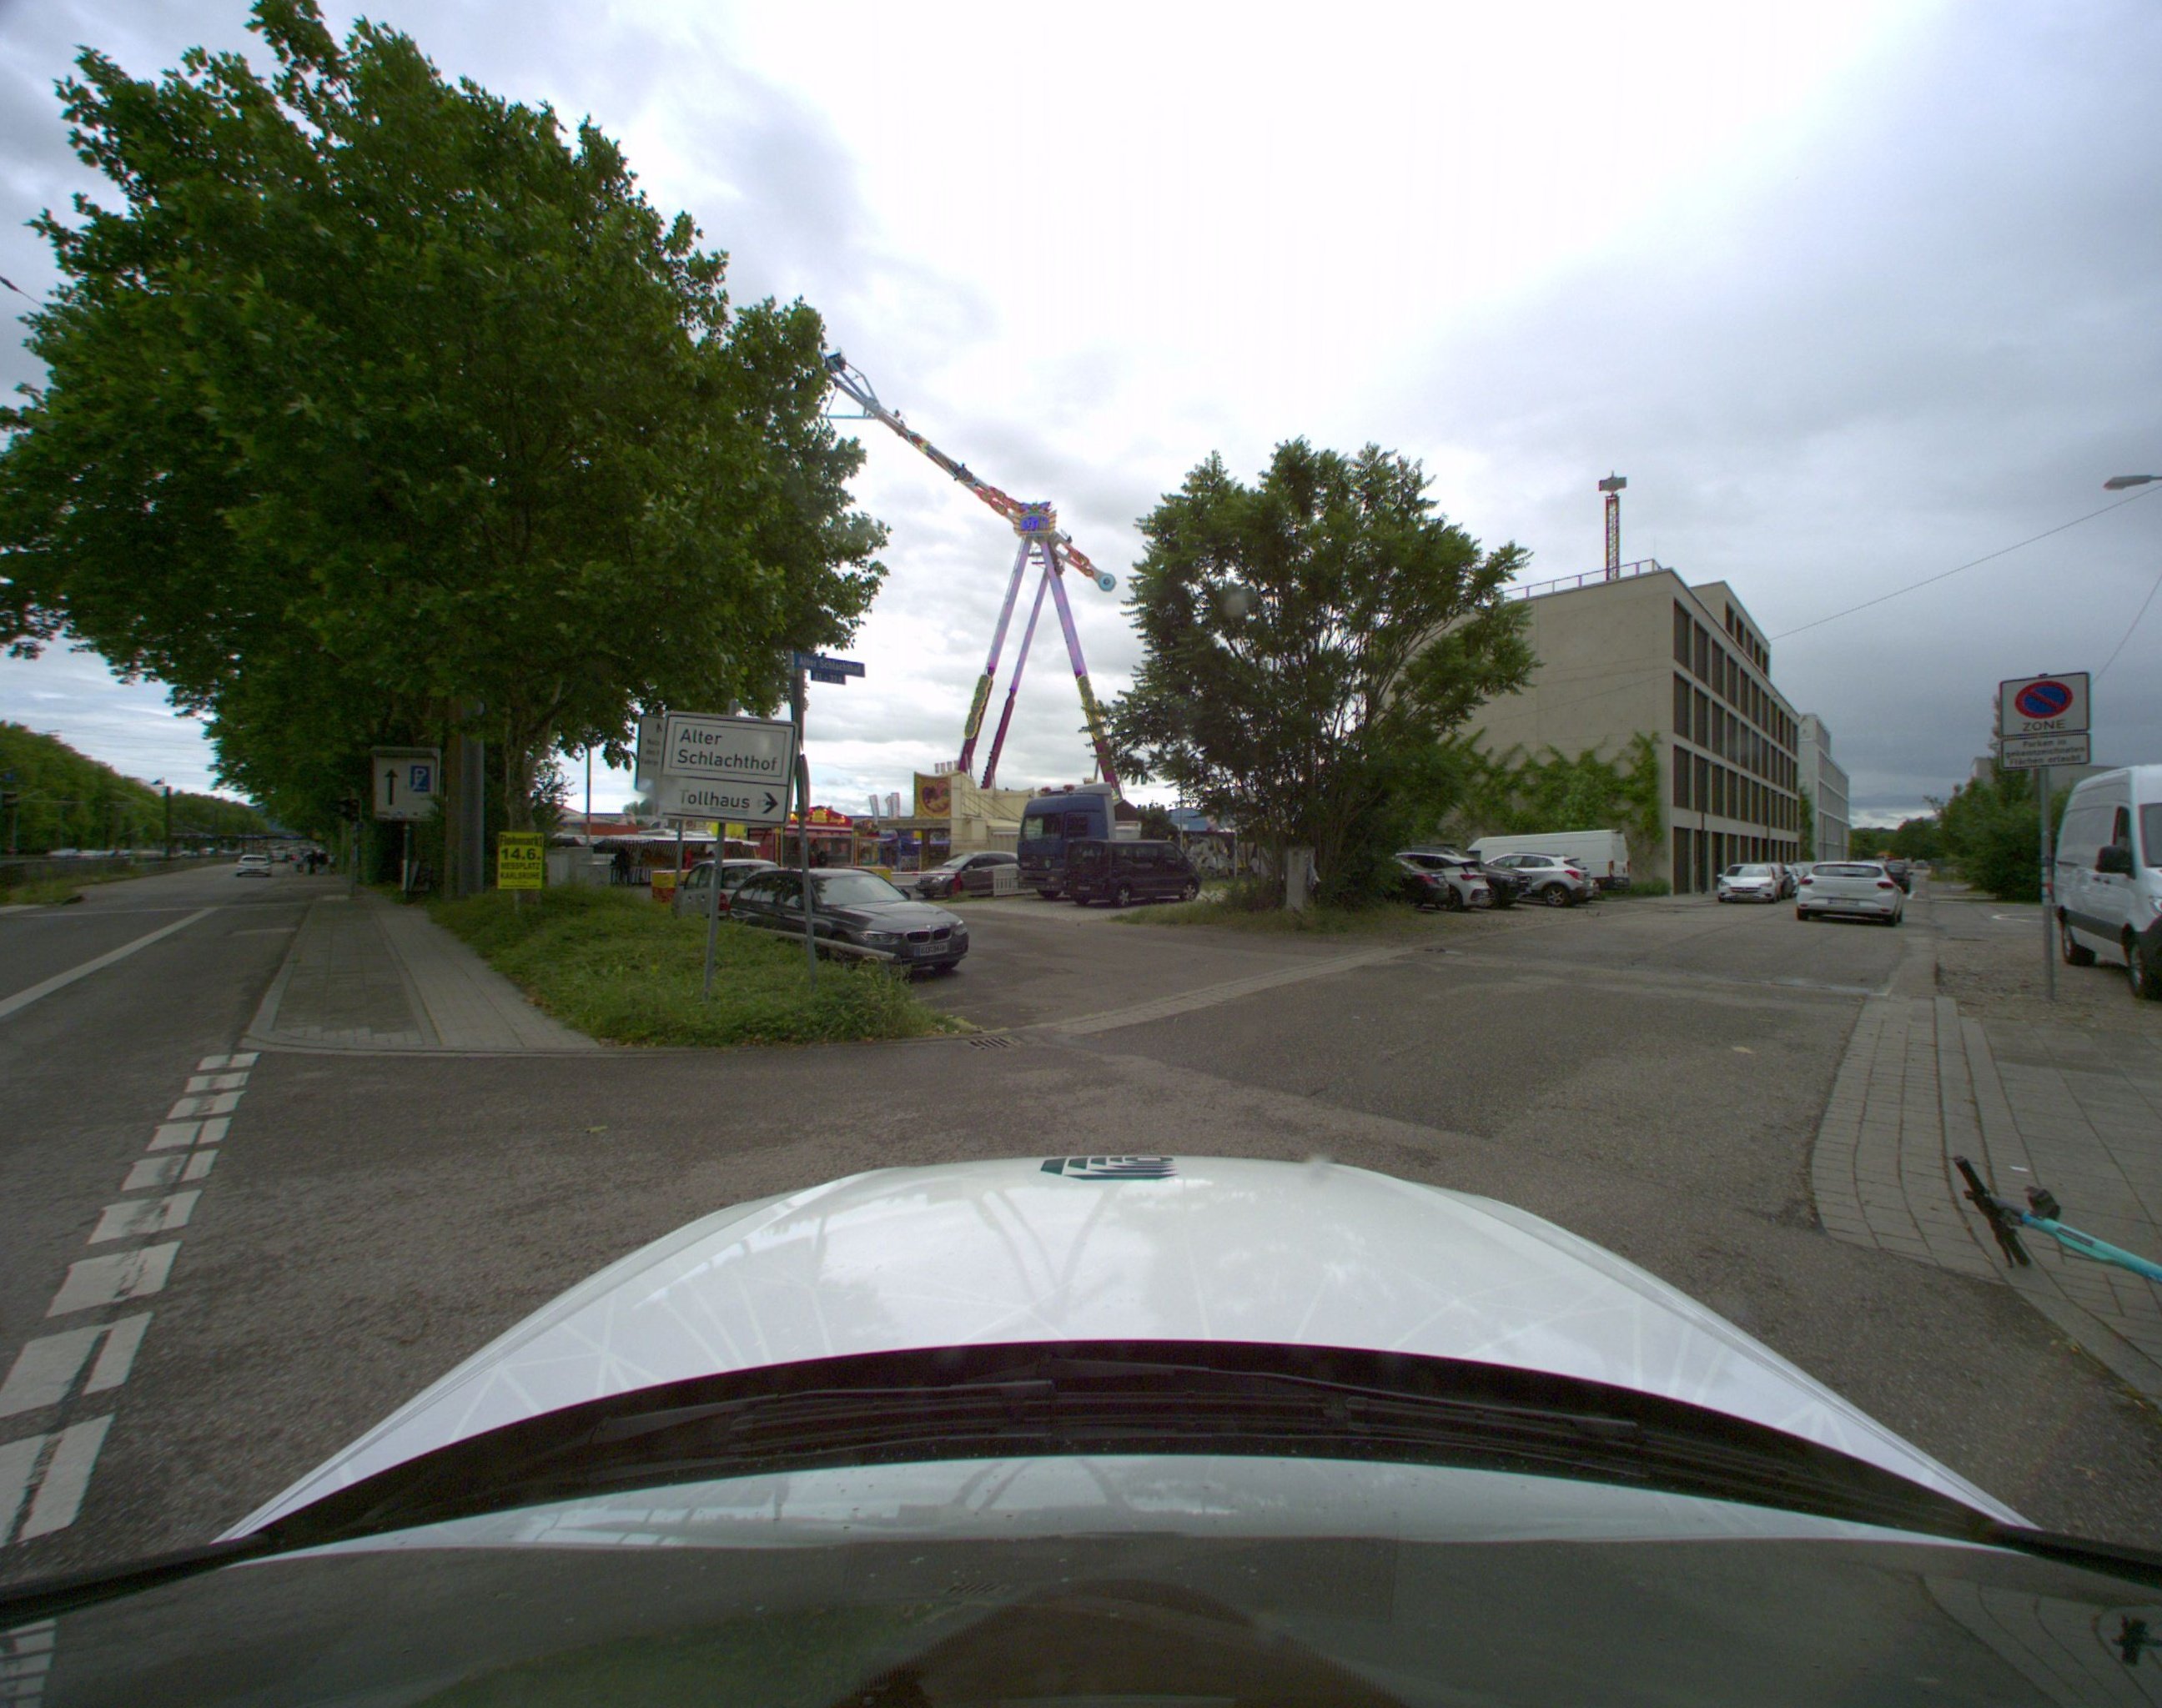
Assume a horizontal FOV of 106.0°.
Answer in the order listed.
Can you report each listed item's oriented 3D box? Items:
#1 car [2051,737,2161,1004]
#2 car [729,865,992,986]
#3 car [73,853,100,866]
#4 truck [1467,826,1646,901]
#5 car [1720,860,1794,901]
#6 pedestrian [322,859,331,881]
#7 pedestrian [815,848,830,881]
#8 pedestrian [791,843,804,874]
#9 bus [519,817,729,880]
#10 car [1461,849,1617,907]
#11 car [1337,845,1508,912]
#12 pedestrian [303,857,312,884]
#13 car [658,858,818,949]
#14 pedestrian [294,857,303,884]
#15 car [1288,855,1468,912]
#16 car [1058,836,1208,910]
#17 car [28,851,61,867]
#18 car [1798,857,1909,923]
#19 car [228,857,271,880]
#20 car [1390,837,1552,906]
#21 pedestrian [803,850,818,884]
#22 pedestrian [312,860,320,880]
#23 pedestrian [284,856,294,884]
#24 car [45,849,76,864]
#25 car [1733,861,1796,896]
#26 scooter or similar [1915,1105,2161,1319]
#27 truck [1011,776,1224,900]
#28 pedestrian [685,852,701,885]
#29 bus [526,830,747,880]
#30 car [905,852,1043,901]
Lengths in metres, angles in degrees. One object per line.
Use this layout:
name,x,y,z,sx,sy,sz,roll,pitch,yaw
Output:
car,13.114,0.142,9.309,6.078,2.555,2.074,0,0,-45
car,-3.309,0.886,11.834,3.949,1.430,1.880,-1,0,43
car,-136.204,0.770,111.555,3.950,1.794,2.012,-1,0,43
truck,18.840,0.285,32.560,2.065,2.727,5.789,0,1,-40
car,26.030,0.973,31.315,1.868,1.453,4.024,-1,0,44
pedestrian,-54.624,1.170,58.933,0.531,1.585,0.399,-1,-1,37
pedestrian,-13.422,0.530,42.328,0.488,1.687,0.527,-1,-1,31
pedestrian,-15.203,0.233,43.684,0.517,1.687,0.497,-1,-1,44
bus,-23.470,-0.264,42.393,1.975,2.960,9.362,-1,0,44
car,14.528,0.707,25.939,3.951,1.644,1.902,2,1,45
car,9.433,0.616,22.688,3.951,1.644,1.902,2,1,45
pedestrian,-57.512,1.200,60.553,0.398,2.014,0.399,0,-1,-28
car,-7.048,0.896,16.529,1.879,1.594,3.952,0,0,-41
pedestrian,-57.931,1.203,60.298,0.398,2.014,0.399,0,-1,-28
car,7.653,0.743,21.196,3.950,1.349,1.902,-1,-3,45
car,1.667,0.466,24.754,4.615,2.013,1.975,-2,2,-45
car,-120.971,0.579,95.103,3.950,1.794,2.012,-1,0,43
car,19.421,0.821,20.417,4.023,1.453,1.868,0,0,-44
car,-58.282,0.980,57.124,1.857,1.552,3.952,-1,0,-42
car,11.587,0.466,24.348,1.902,1.879,3.951,0,0,-45
pedestrian,-13.799,0.662,41.574,0.488,1.687,0.527,-1,-1,31
pedestrian,-55.040,1.172,58.574,0.399,1.444,0.556,0,-1,-44
pedestrian,-58.372,1.182,60.014,0.398,2.014,0.399,0,-1,-28
car,-124.202,0.292,99.182,3.950,1.794,2.012,-1,0,43
car,30.239,1.036,35.999,1.868,1.453,4.024,-1,0,44
scooter or similar,4.020,1.293,2.744,1.180,0.349,1.323,-2,1,-19
truck,1.542,-0.487,28.865,8.265,3.822,2.568,0,-1,-44
pedestrian,-17.077,0.628,35.823,0.517,1.463,0.497,-1,-1,44
bus,-21.488,0.050,40.017,1.975,2.227,9.362,-1,0,44
car,-3.718,0.746,28.894,4.615,1.575,1.975,0,0,-44
